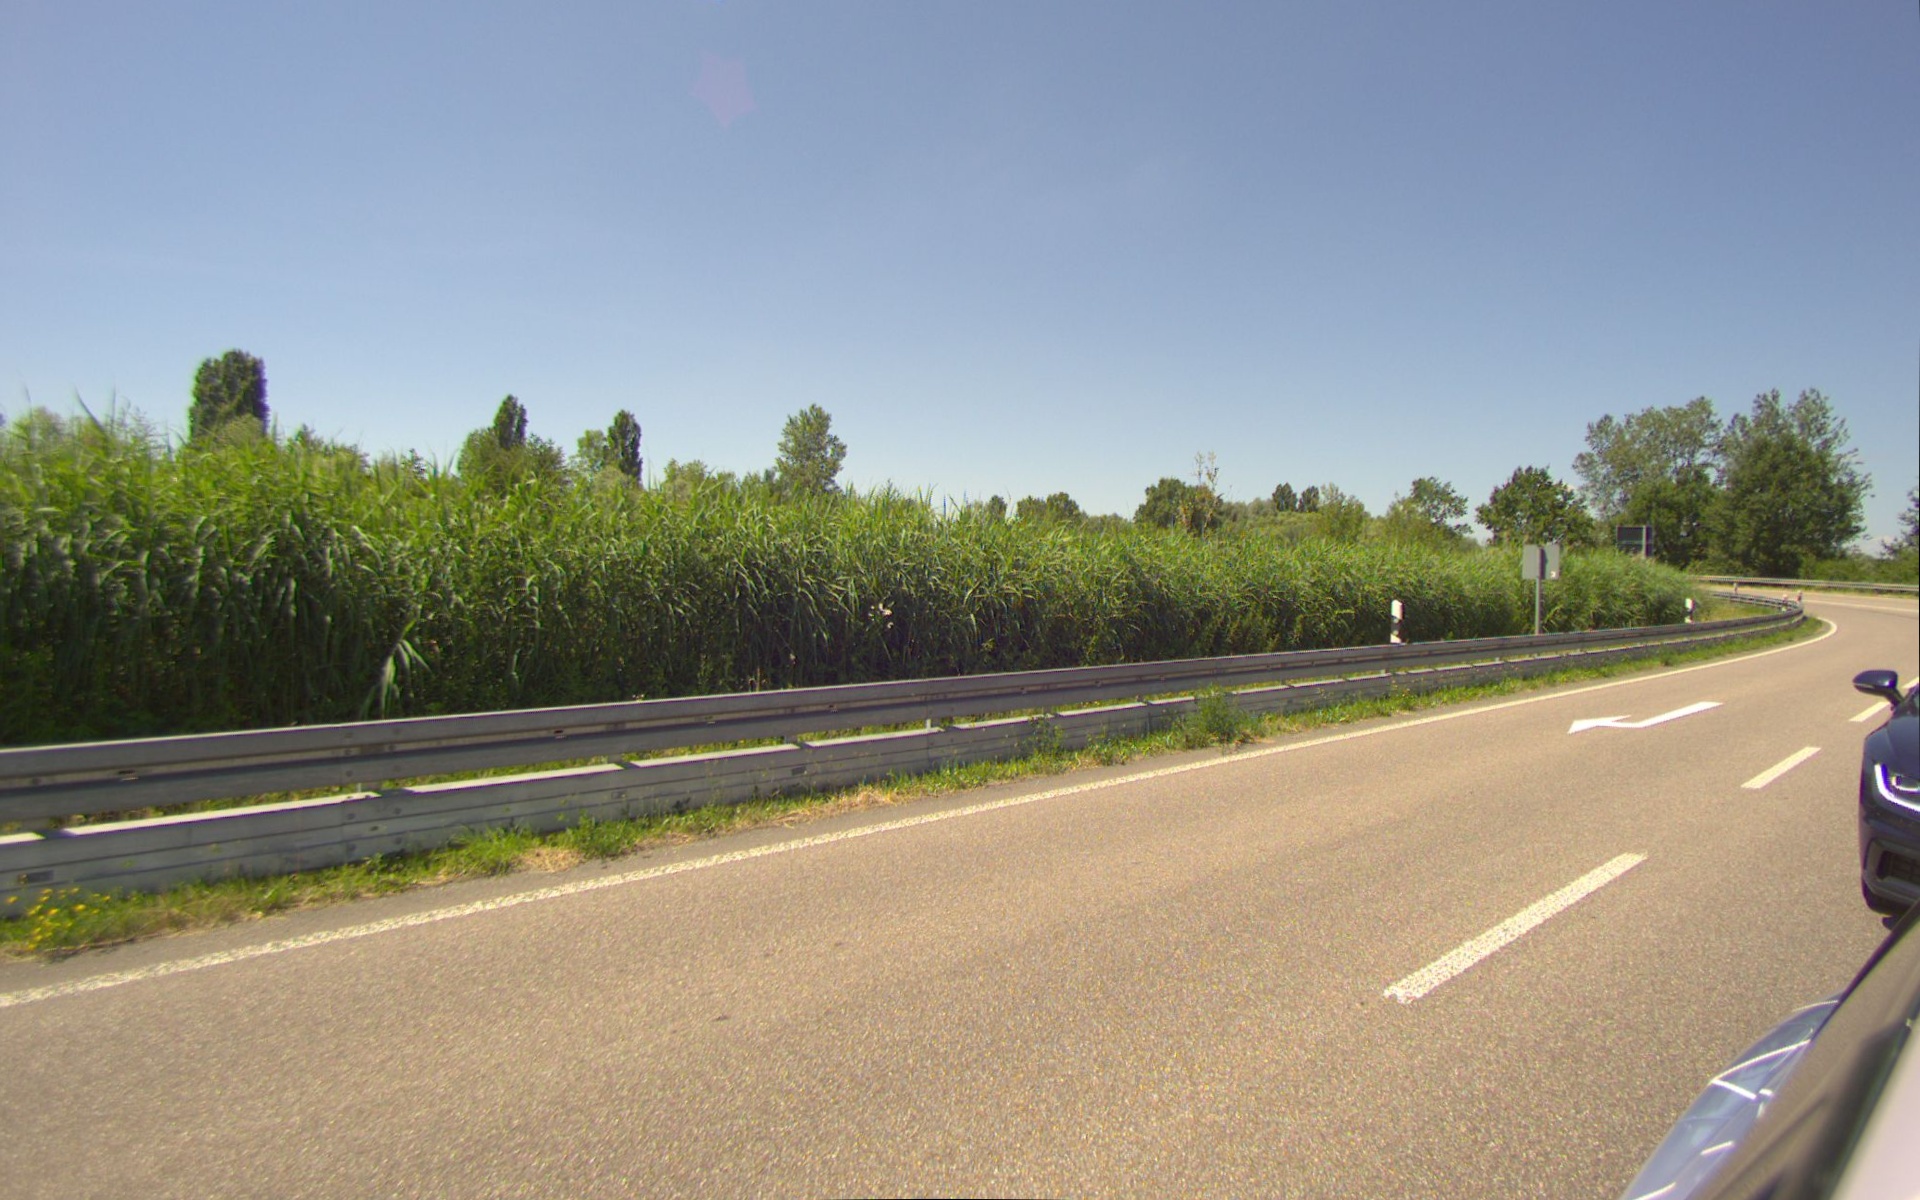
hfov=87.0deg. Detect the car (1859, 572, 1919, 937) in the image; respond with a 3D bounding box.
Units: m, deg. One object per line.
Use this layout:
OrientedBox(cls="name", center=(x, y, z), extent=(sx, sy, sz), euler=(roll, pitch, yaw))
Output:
OrientedBox(cls="car", center=(5.995, 0.615, 4.974), extent=(4.338, 1.481, 1.818), euler=(-1, 1, -41))
